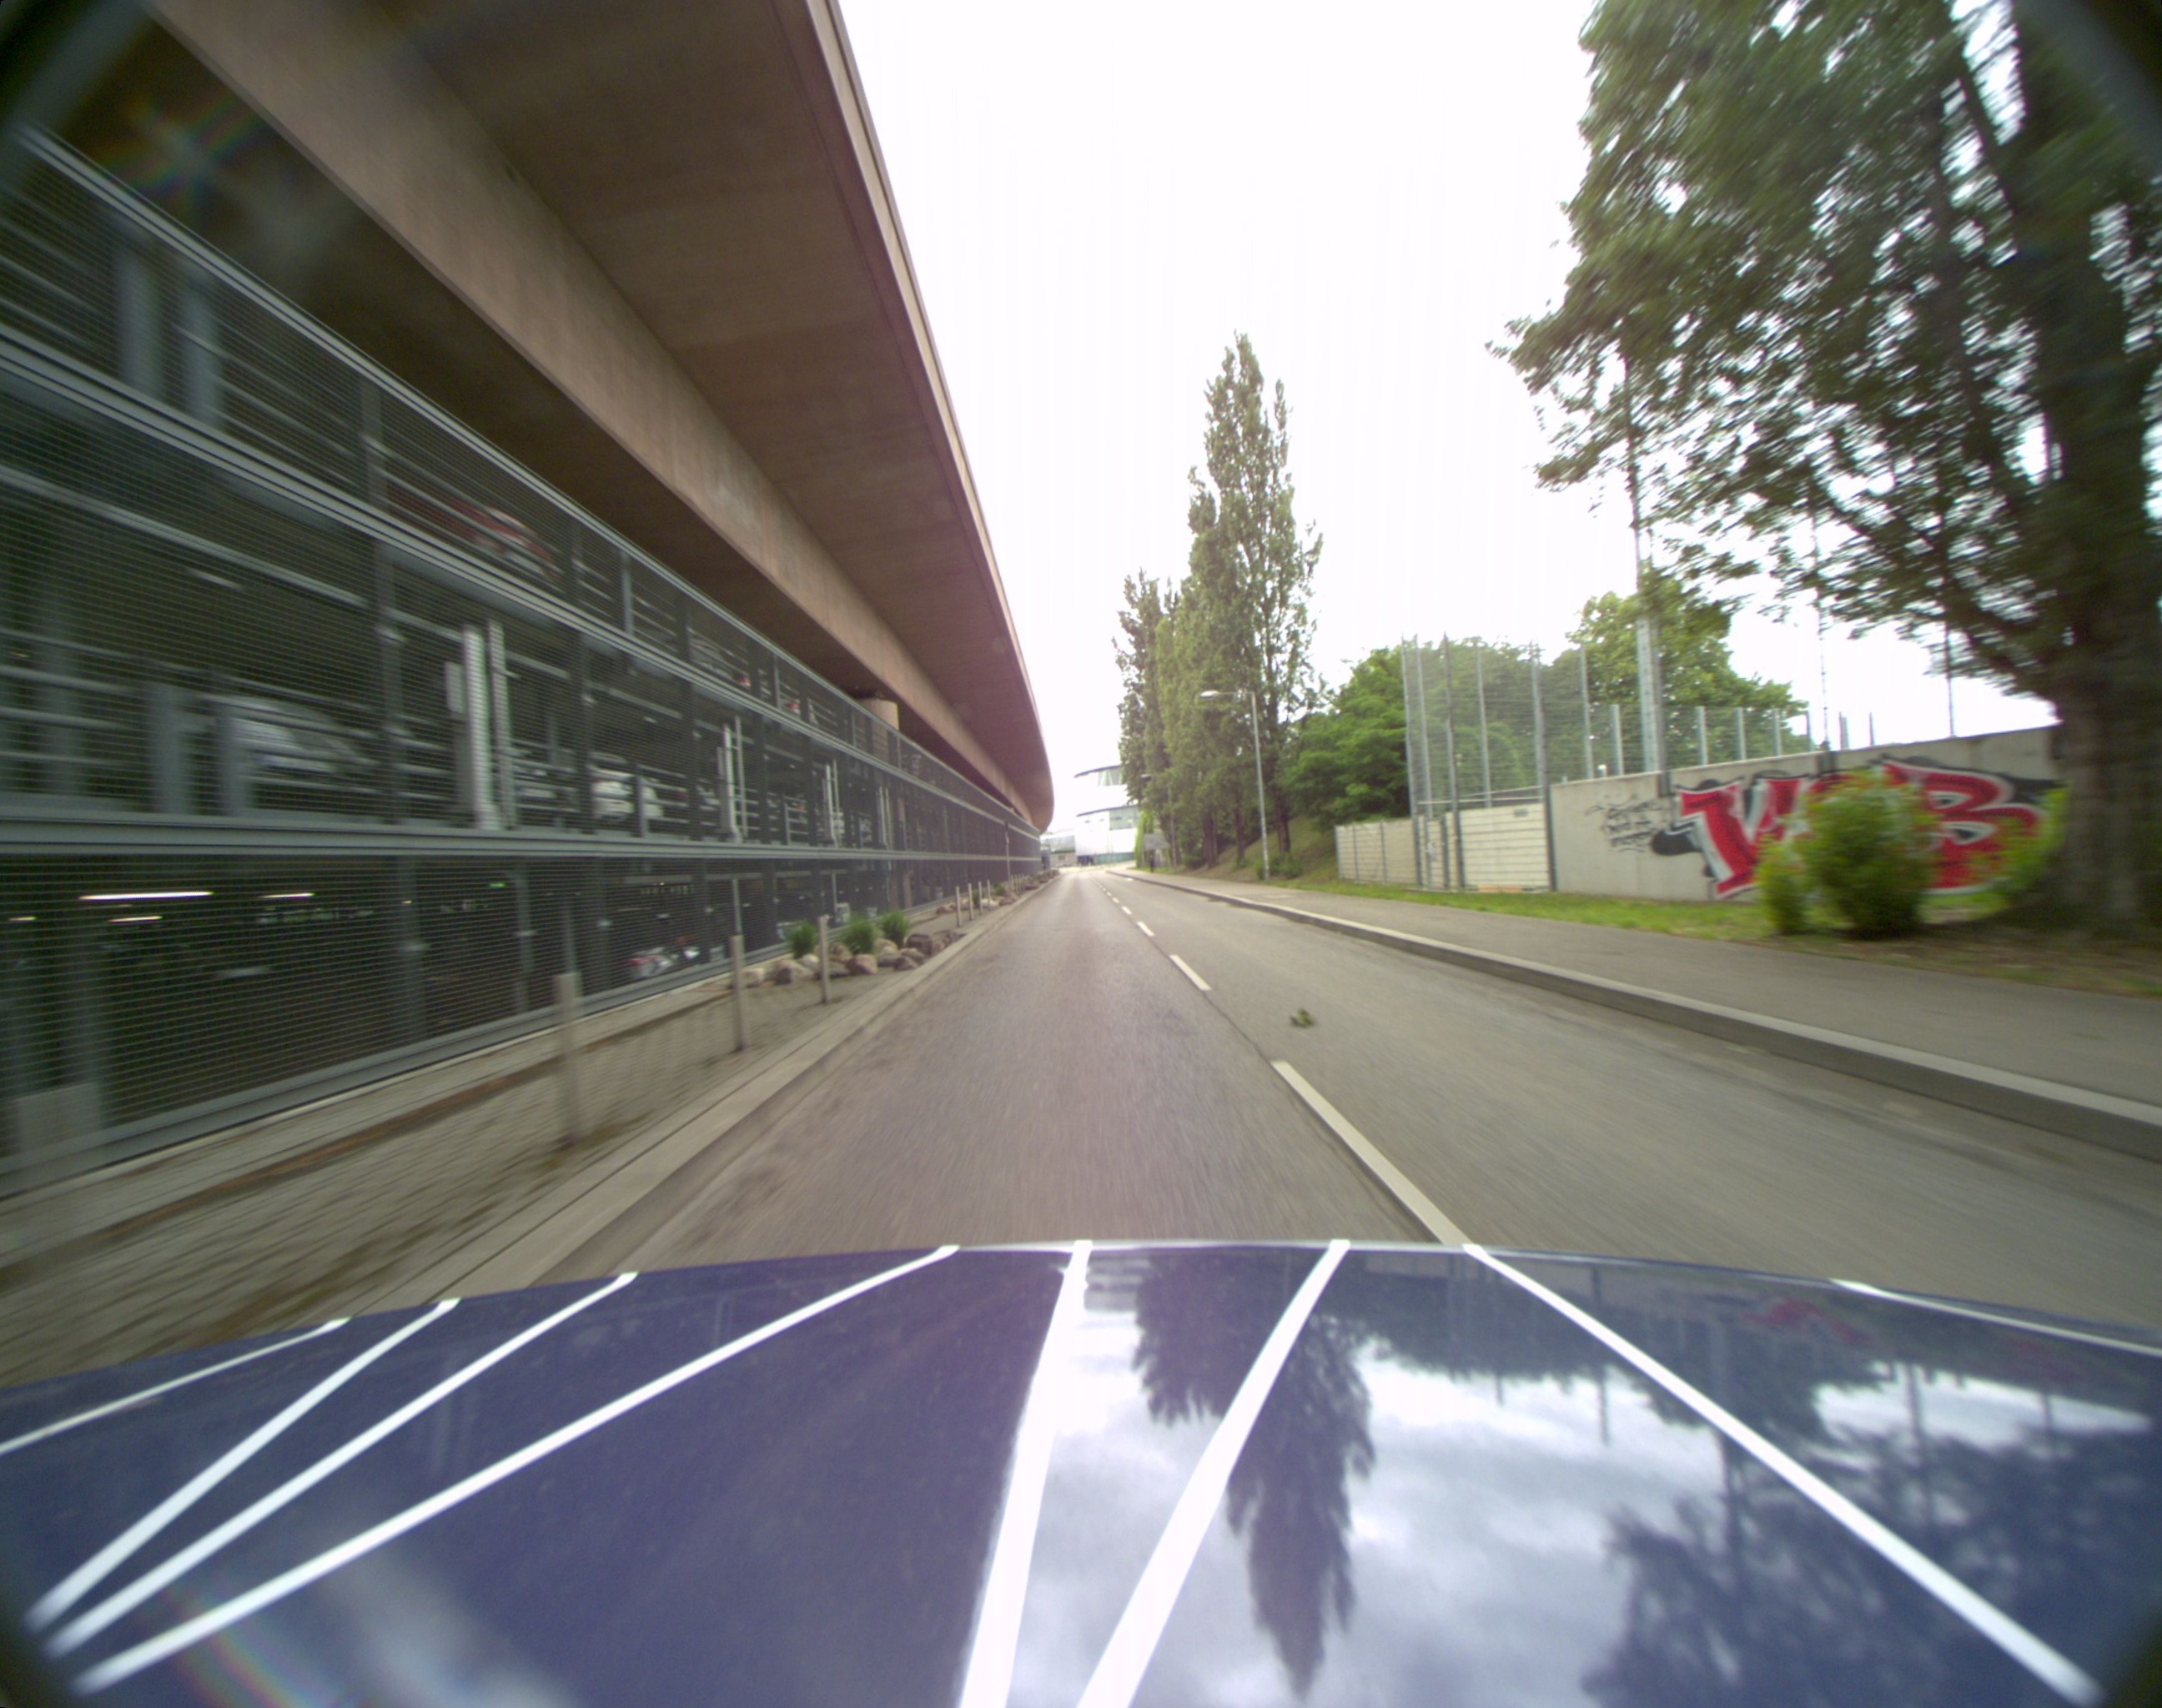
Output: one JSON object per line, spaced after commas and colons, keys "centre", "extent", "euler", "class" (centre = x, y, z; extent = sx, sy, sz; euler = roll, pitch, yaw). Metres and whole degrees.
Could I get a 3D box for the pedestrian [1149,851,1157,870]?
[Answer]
{"centre": [7.289, 0.663, 76.540], "extent": [0.662, 1.882, 0.736], "euler": [-2, 1, 0], "class": "pedestrian"}
